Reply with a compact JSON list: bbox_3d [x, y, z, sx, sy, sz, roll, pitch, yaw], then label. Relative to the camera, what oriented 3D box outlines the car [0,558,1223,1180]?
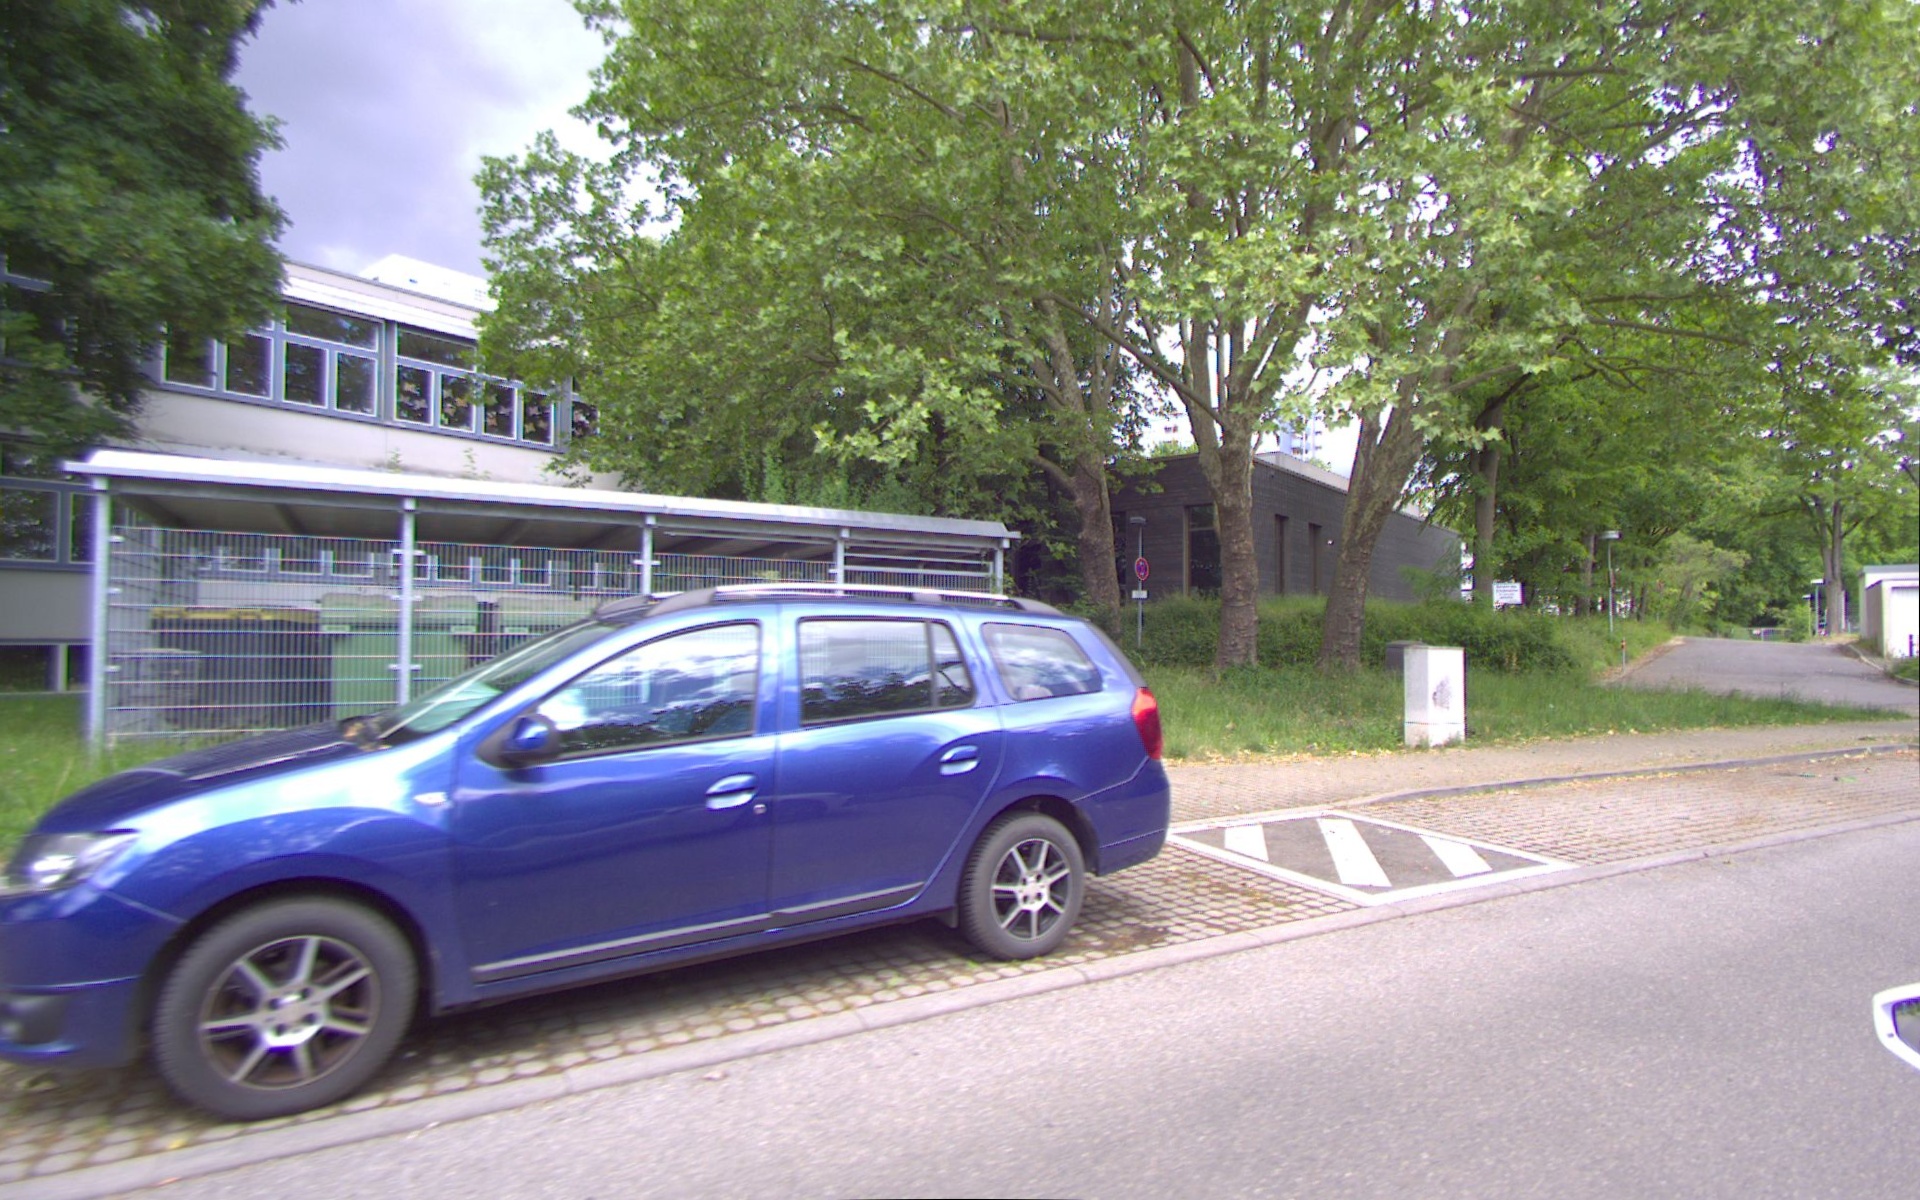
[{"bbox_3d":[-1.034,0.721,4.316,4.382,1.531,1.671,1,-1,-32],"label":"car"}]
